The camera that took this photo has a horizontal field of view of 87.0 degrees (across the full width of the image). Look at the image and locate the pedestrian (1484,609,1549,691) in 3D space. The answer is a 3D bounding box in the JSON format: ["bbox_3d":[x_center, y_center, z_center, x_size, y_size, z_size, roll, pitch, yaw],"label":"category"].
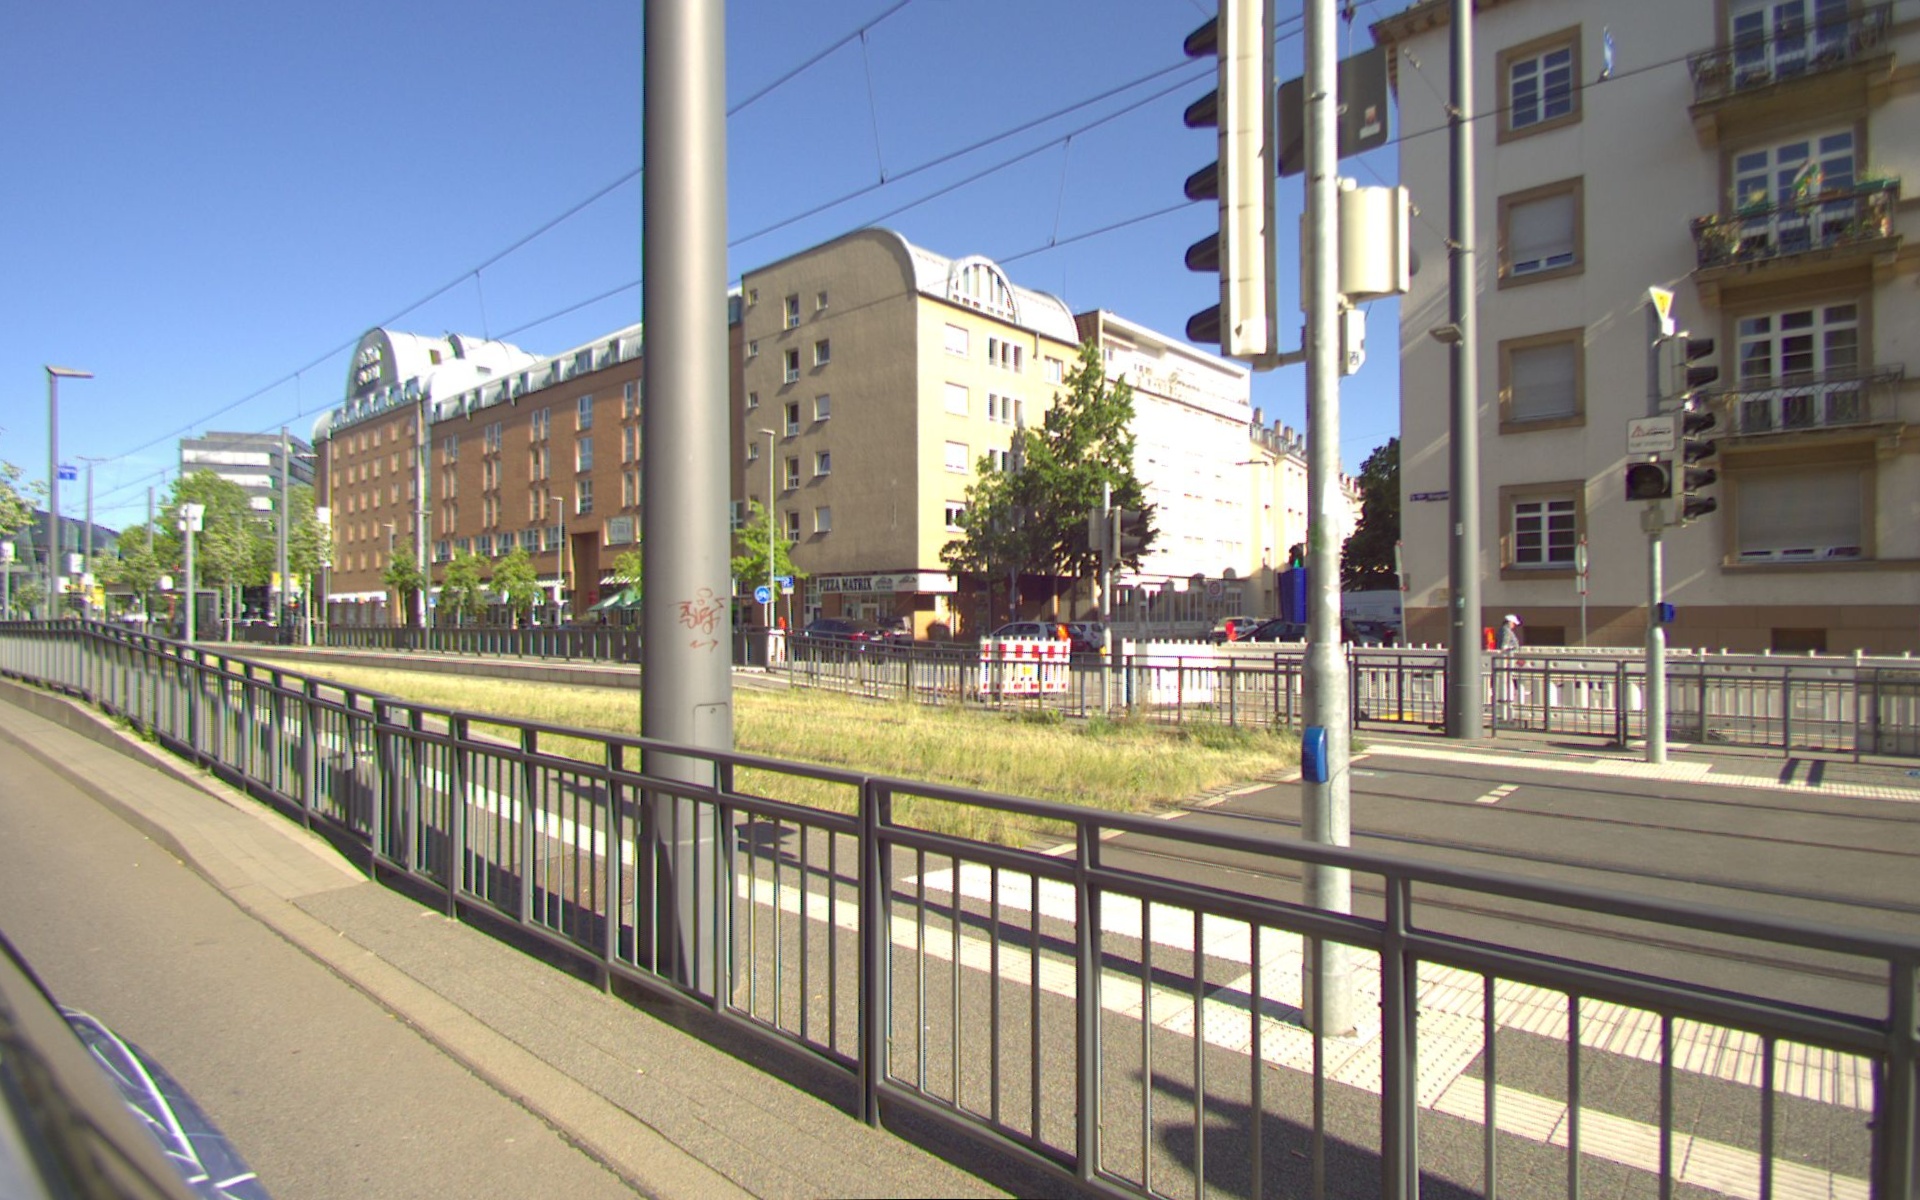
[{"bbox_3d":[10.560,0.935,19.218,0.794,1.515,0.711,0,-1,-2],"label":"pedestrian"}]

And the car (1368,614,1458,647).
[{"bbox_3d":[23.072,1.507,51.554,3.988,1.567,1.848,-1,0,33],"label":"car"}]

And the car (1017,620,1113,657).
[{"bbox_3d":[4.649,1.678,44.978,3.997,1.497,1.693,0,0,40],"label":"car"}]

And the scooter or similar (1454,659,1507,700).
[{"bbox_3d":[9.863,1.496,19.202,0.598,0.725,0.712,0,-1,-3],"label":"scooter or similar"}]

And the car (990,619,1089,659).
[{"bbox_3d":[3.338,1.609,42.760,3.955,1.563,1.457,-1,0,33],"label":"car"}]

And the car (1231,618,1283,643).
[{"bbox_3d":[17.845,1.818,60.661,1.993,1.457,4.141,-1,-2,31],"label":"car"}]

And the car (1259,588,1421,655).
[{"bbox_3d":[14.958,0.812,39.949,5.737,2.473,1.979,-1,0,32],"label":"car"}]

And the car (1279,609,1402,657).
[{"bbox_3d":[14.135,1.194,37.641,3.989,1.652,1.848,-1,0,34],"label":"car"}]

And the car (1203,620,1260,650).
[{"bbox_3d":[15.061,1.923,56.081,1.993,1.630,4.141,-1,-2,31],"label":"car"}]

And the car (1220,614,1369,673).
[{"bbox_3d":[10.275,1.278,31.192,3.994,1.652,1.846,-1,0,38],"label":"car"}]

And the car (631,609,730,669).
[{"bbox_3d":[-11.775,1.561,42.404,1.969,2.314,5.197,-1,0,-41],"label":"car"}]

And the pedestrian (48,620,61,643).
[{"bbox_3d":[-74.708,2.570,83.516,0.591,1.903,0.744,0,-1,-24],"label":"pedestrian"}]

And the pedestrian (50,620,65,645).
[{"bbox_3d":[-70.053,2.513,78.588,0.810,1.903,0.769,1,-2,-45],"label":"pedestrian"}]

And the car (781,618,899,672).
[{"bbox_3d":[-4.105,1.479,34.351,3.996,1.652,1.677,0,0,39],"label":"car"}]

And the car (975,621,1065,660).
[{"bbox_3d":[2.405,1.605,40.737,3.334,1.438,1.424,-1,0,29],"label":"car"}]

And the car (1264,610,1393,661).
[{"bbox_3d":[13.007,1.219,35.754,3.989,1.652,1.848,-1,0,34],"label":"car"}]
